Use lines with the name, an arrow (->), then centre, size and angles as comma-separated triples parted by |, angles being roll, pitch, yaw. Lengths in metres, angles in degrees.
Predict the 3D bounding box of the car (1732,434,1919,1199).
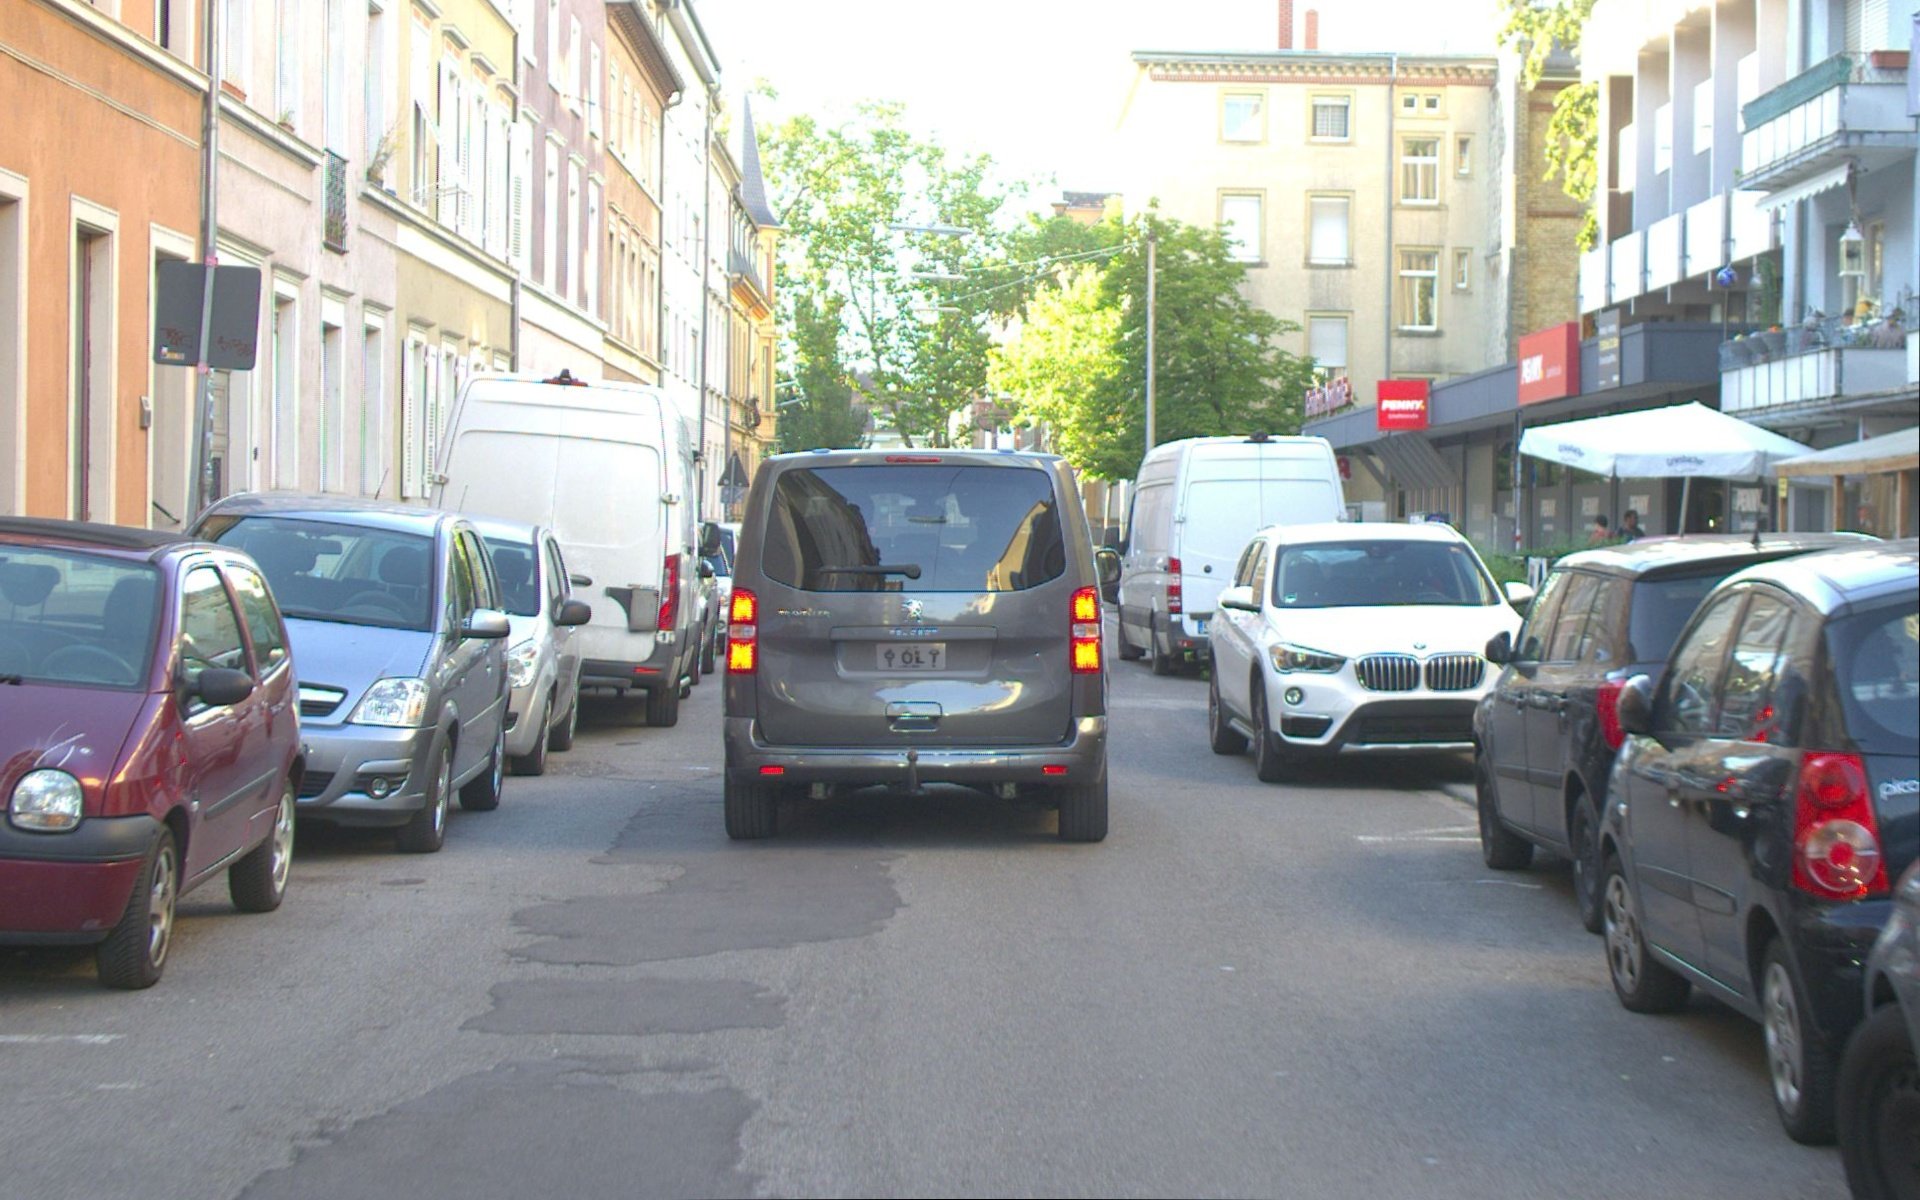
car -> 2.608, 0.577, 5.633 | 1.749, 1.677, 4.525 | 2, 2, 2

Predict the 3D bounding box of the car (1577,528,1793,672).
car -> 7.583, -0.035, 35.789 | 1.602, 1.411, 3.225 | 1, 2, 23

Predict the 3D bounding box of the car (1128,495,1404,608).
car -> 5.317, -0.859, 60.191 | 4.569, 1.852, 2.000 | 1, 2, -1

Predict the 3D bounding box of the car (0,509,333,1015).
car -> -3.338, 0.438, 12.046 | 1.657, 1.443, 3.286 | 4, 1, -1

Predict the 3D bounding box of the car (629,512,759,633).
car -> -3.536, -0.391, 46.011 | 1.386, 1.526, 2.749 | 1, 2, 3

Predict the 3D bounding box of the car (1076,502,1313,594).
car -> 4.833, -1.086, 71.195 | 4.568, 1.786, 2.001 | 1, 2, -7

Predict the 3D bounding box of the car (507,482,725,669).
car -> -3.423, -0.296, 34.887 | 1.863, 1.745, 4.294 | 1, 2, -1

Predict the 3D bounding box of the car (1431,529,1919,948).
car -> 3.117, 0.469, 14.705 | 1.620, 1.481, 4.125 | -1, 2, 0

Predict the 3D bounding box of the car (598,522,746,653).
car -> -3.549, -0.190, 42.464 | 1.710, 1.492, 3.856 | 1, 2, -4

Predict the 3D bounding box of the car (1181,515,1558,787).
car -> 2.600, 0.256, 22.874 | 1.722, 1.606, 4.589 | 1, 1, -3

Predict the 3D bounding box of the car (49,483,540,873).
car -> -3.203, 0.291, 17.278 | 1.711, 1.638, 3.980 | 3, 2, -2

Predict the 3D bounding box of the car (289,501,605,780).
car -> -3.339, 0.197, 22.946 | 1.590, 1.680, 3.653 | 1, 2, -1

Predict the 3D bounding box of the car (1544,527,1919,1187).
car -> 2.818, 0.592, 10.059 | 1.622, 1.552, 3.694 | 1, 2, 1

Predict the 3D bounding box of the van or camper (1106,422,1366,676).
van or camper -> 2.982, -0.623, 38.908 | 2.099, 2.593, 7.513 | 0, 1, -2

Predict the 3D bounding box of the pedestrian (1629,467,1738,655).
pedestrian -> 8.363, -0.460, 39.774 | 0.872, 2.137, 0.956 | 0, 1, -17

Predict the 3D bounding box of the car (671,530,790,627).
car -> -3.644, -0.373, 54.899 | 1.788, 1.392, 4.468 | 2, 2, -3

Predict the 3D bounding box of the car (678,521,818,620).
car -> -3.647, -0.544, 59.803 | 1.993, 1.599, 4.585 | 1, 2, 2

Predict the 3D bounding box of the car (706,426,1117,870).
car -> -0.253, 0.160, 17.804 | 1.857, 2.006, 4.001 | -1, 2, -1

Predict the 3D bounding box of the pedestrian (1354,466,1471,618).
pedestrian -> 4.755, -0.618, 36.150 | 0.870, 1.550, 0.876 | -2, 2, -22

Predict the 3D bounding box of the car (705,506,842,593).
car -> -3.524, -0.991, 65.701 | 1.994, 1.555, 4.584 | 1, 2, 4

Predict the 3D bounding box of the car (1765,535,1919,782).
car -> 7.717, 0.428, 23.629 | 3.895, 1.602, 1.694 | 2, 1, -1

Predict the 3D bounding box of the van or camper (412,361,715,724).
van or camper -> -3.155, -0.515, 28.724 | 1.949, 2.640, 7.142 | 0, 1, -2
